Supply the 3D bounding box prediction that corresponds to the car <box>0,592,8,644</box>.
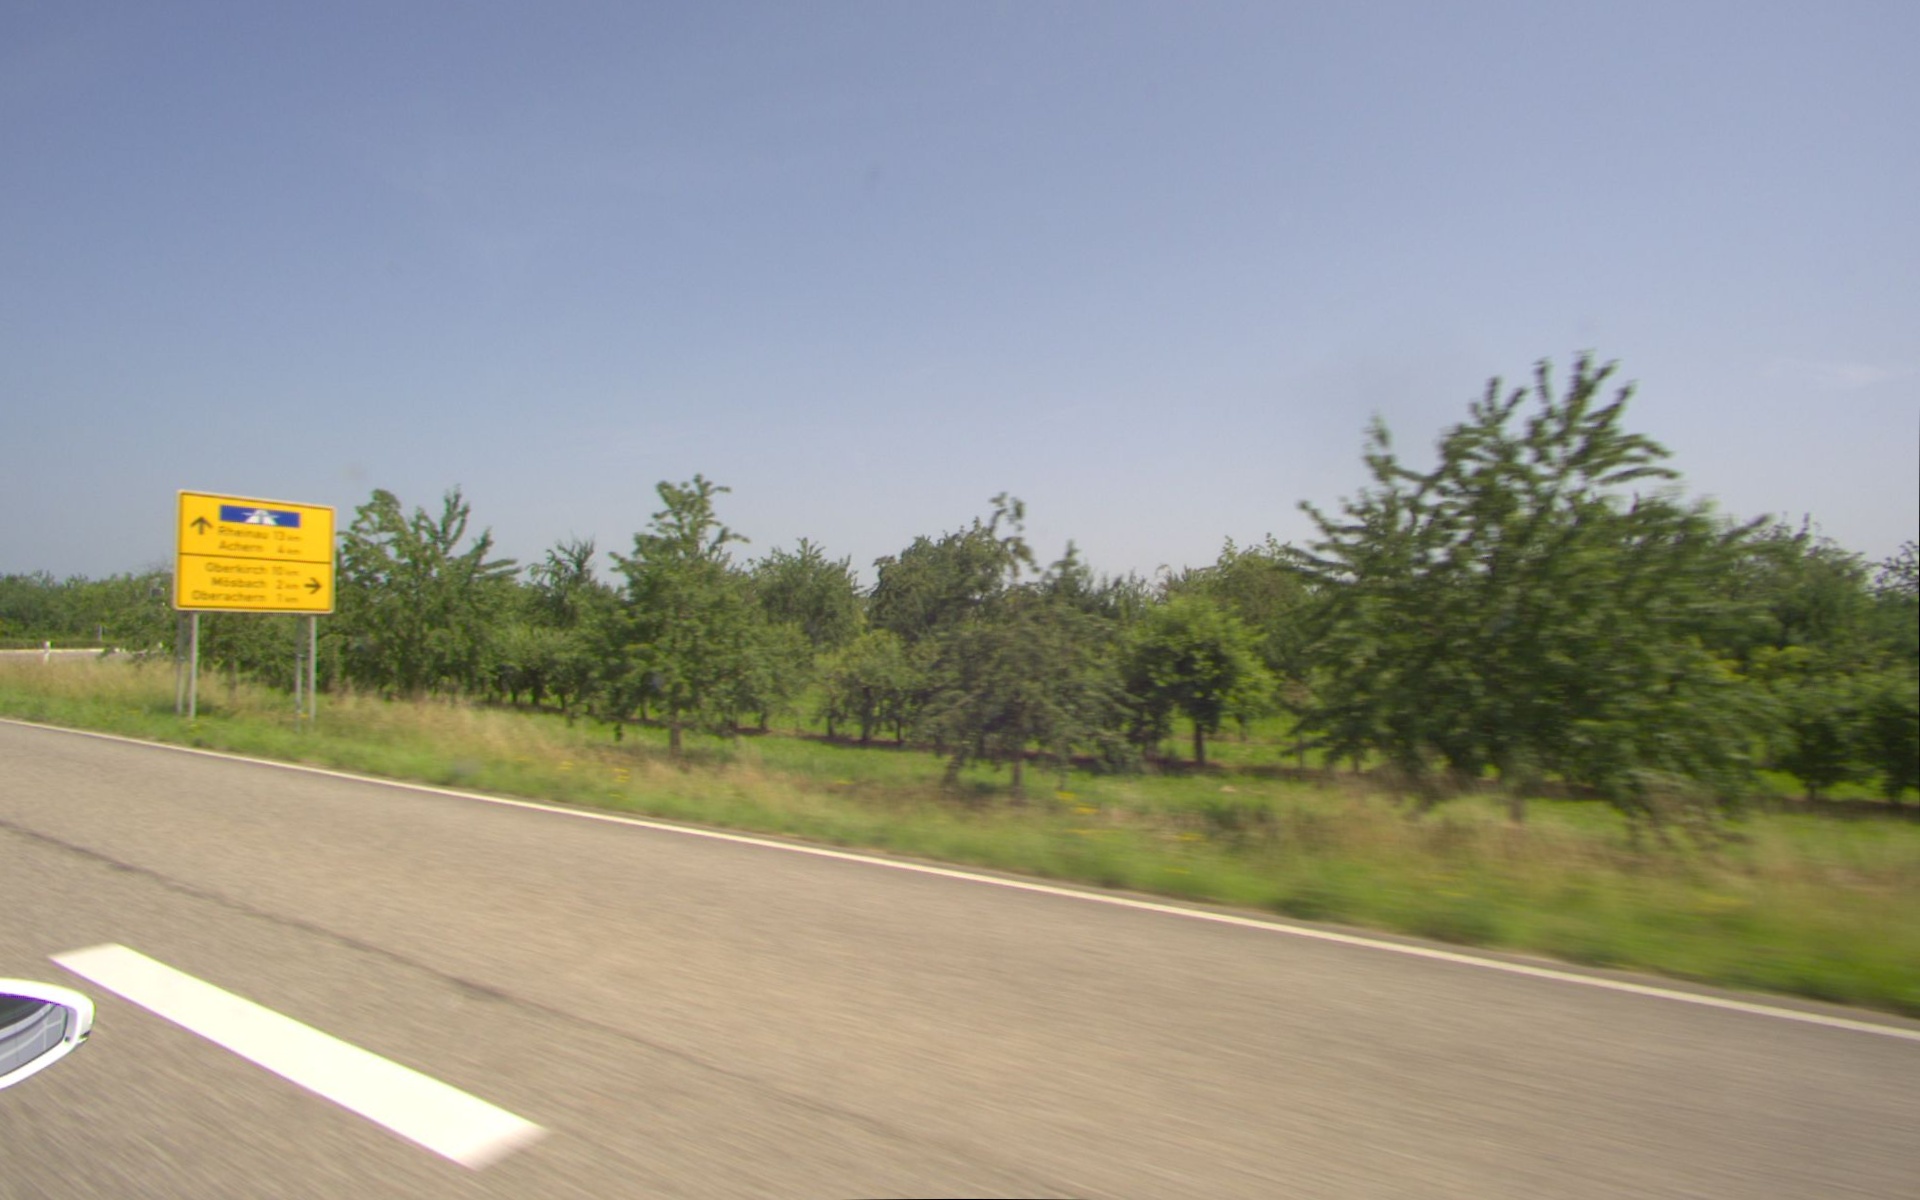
[{"bbox_3d":[-50.691,0.934,48.704,2.041,2.608,6.255,-1,-1,44],"label":"car"}]
